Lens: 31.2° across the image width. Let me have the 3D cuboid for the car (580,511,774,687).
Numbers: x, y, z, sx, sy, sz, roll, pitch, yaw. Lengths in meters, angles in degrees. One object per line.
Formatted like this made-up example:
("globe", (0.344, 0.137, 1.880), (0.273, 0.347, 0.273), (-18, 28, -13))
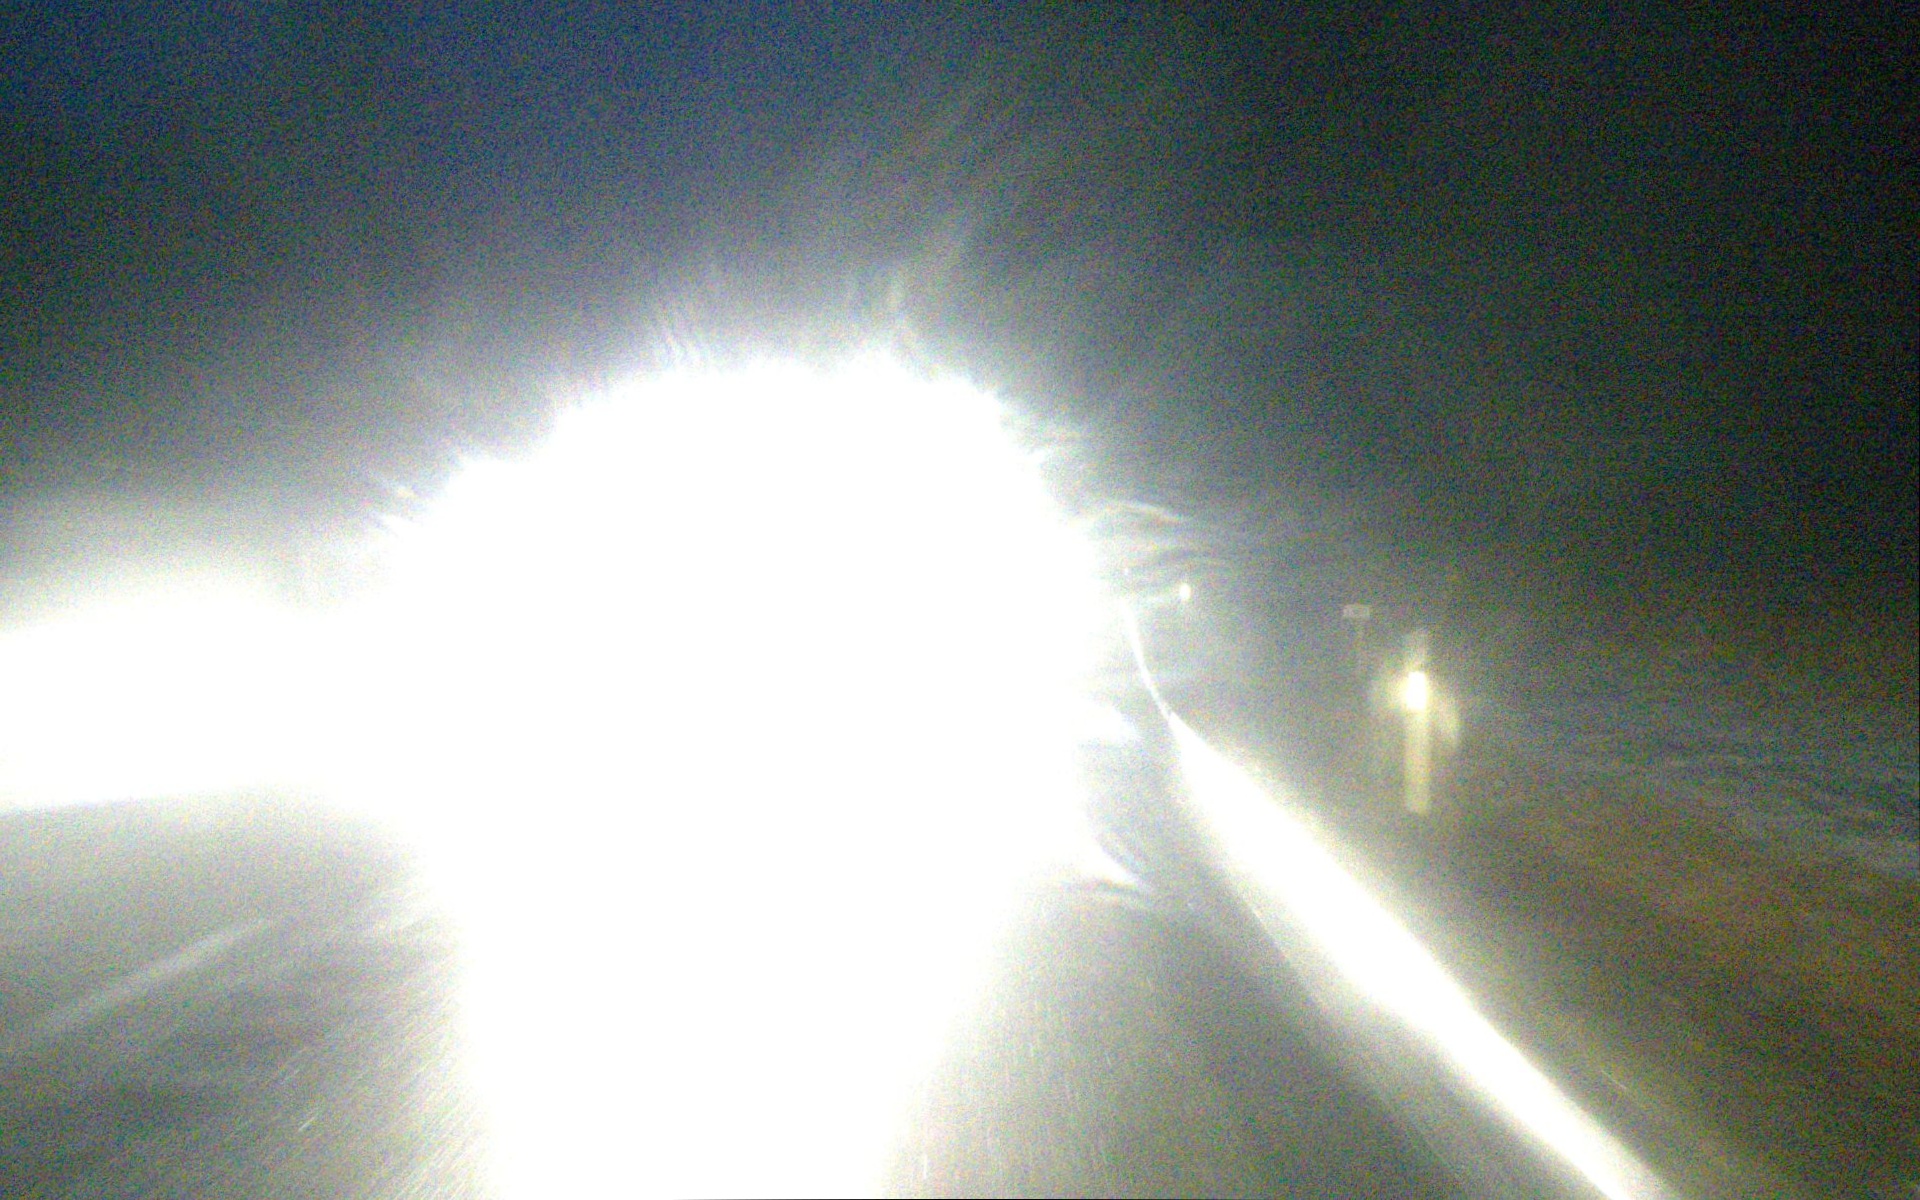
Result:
("car", (-3.221, -0.036, 39.812), (1.855, 1.933, 4.000), (0, 1, 1))

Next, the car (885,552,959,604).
("car", (-1.091, -0.669, 100.825), (1.917, 1.459, 4.259), (0, 1, 3))
